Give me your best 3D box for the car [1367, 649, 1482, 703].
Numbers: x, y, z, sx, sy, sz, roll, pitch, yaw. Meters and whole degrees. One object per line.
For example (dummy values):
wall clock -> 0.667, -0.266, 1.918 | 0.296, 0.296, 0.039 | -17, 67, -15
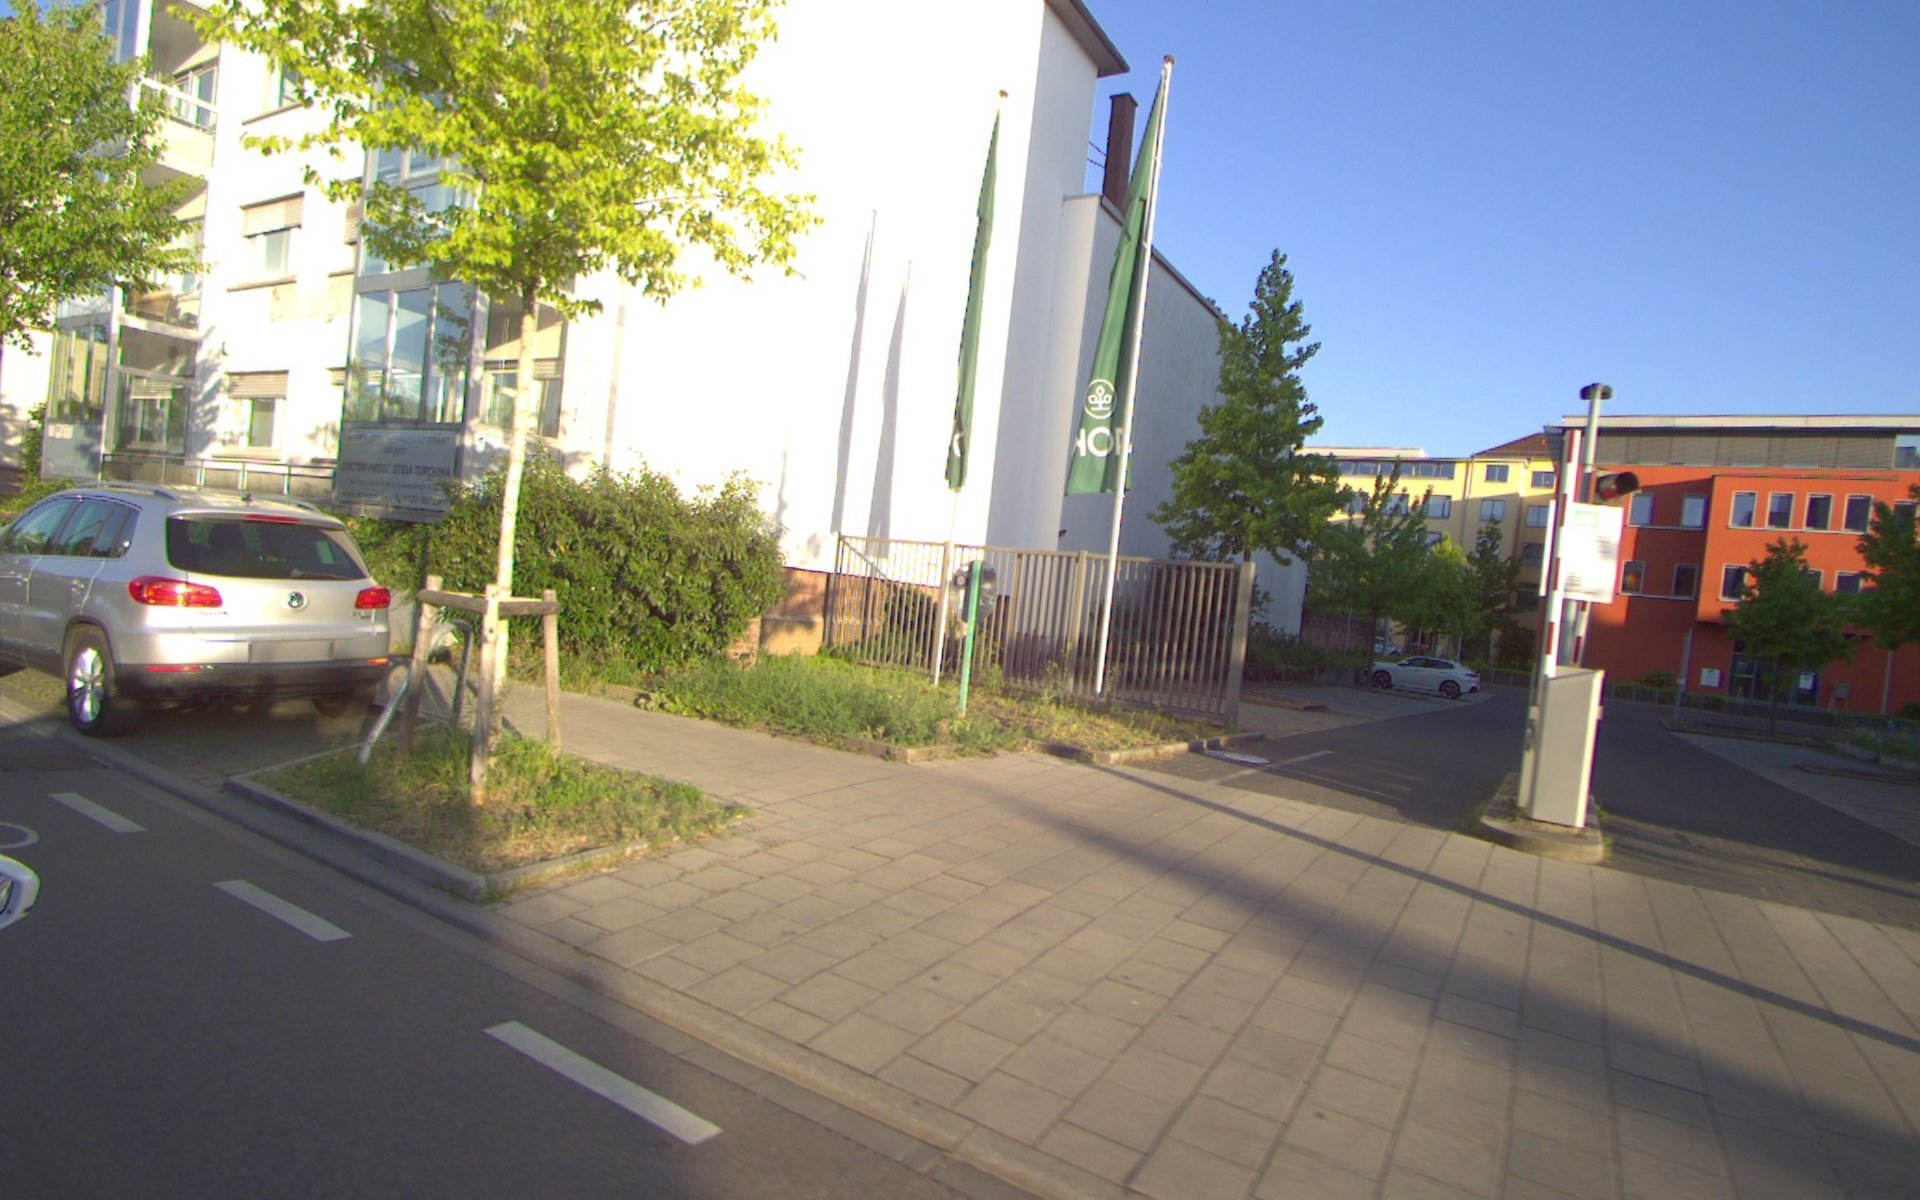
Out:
car -> 19.583, 3.170, 42.454 | 4.061, 1.685, 1.820 | 7, 1, 33

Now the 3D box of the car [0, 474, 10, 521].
car -> -35.224, -3.680, 34.041 | 1.886, 1.592, 4.191 | 7, 4, 34

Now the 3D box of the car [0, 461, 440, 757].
car -> -6.357, -0.059, 8.011 | 4.182, 1.728, 1.857 | 7, 1, 30
